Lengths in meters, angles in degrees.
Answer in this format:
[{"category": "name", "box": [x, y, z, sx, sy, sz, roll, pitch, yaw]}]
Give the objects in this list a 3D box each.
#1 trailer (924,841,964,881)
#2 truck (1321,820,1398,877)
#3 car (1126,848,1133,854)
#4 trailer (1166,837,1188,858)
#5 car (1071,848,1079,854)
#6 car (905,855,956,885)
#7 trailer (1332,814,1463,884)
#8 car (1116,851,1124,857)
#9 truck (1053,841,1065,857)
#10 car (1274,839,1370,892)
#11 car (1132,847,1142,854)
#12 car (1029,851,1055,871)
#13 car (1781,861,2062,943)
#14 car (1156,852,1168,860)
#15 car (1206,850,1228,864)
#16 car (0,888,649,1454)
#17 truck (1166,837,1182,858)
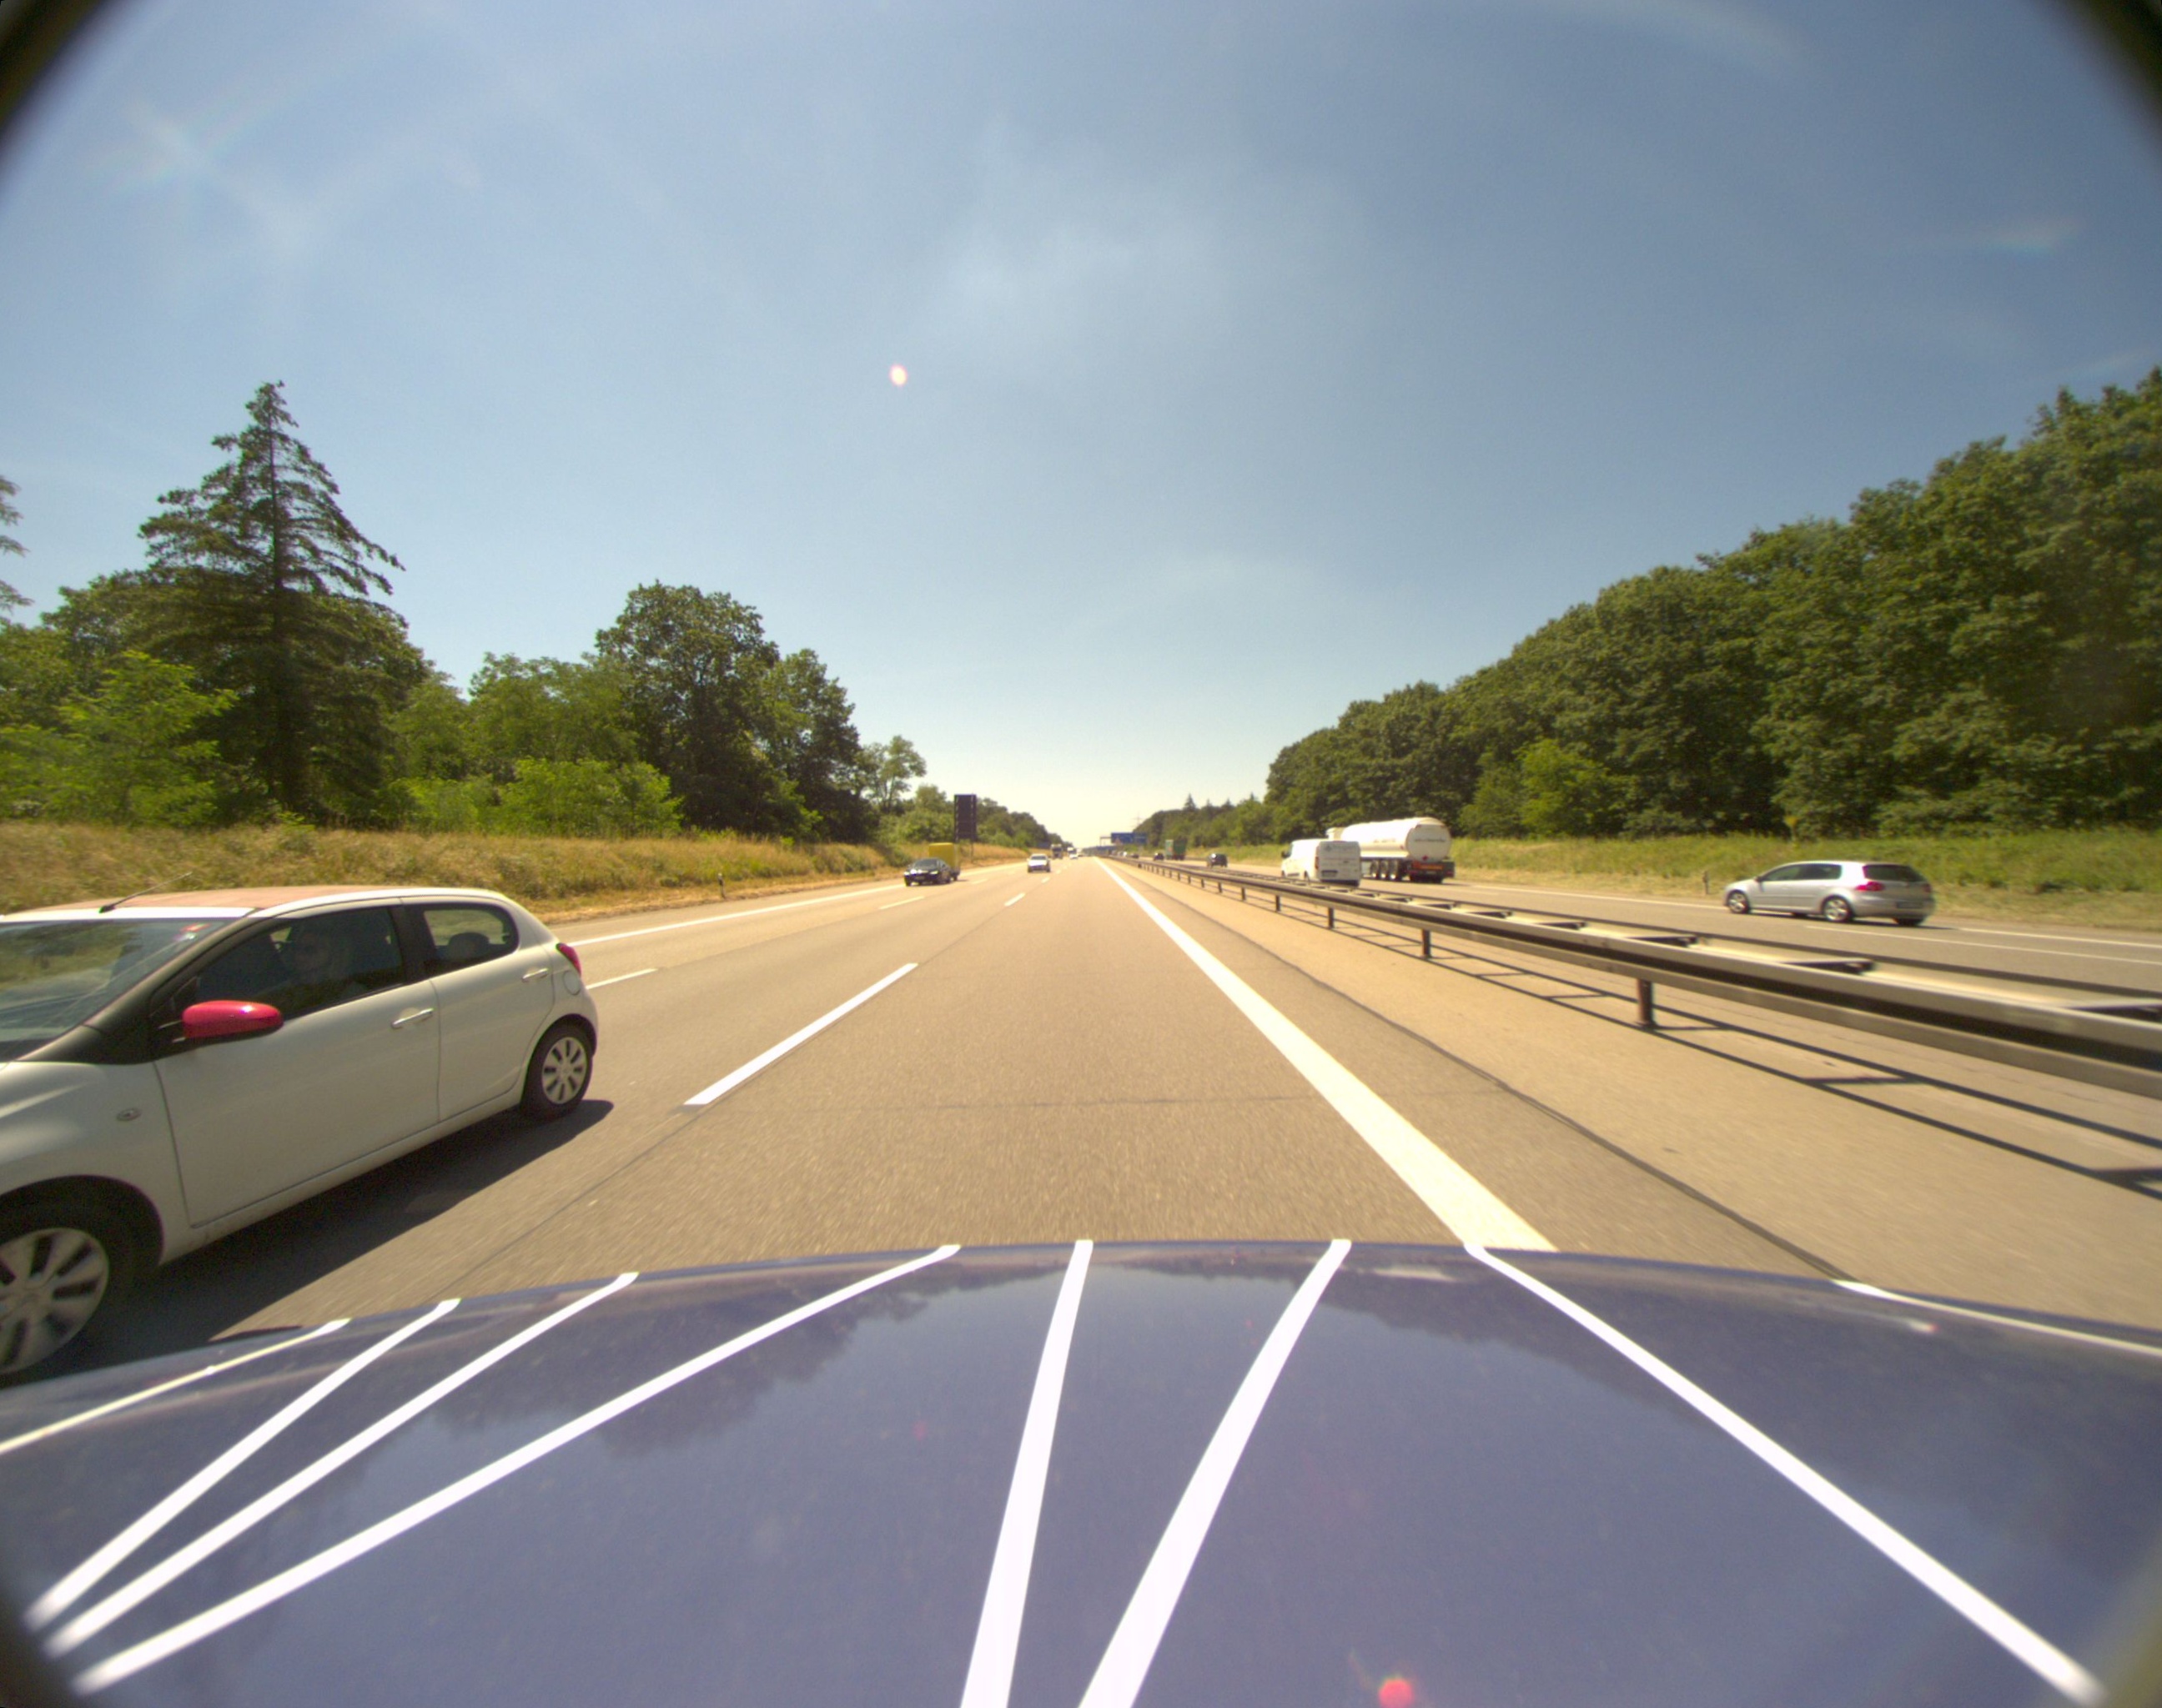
[{"category": "trailer", "box": [-8.225, 0.386, 45.938, 1.707, 2.276, 3.839, -2, 1, 0]}, {"category": "truck", "box": [17.872, -0.331, 49.136, 2.689, 3.414, 6.144, 1, 1, 1]}, {"category": "car", "box": [12.256, -0.721, 192.410, 1.659, 1.492, 4.600, 2, 0, 1]}, {"category": "trailer", "box": [19.655, -1.350, 156.319, 2.711, 4.137, 14.337, 2, 0, 1]}, {"category": "car", "box": [-1.462, -0.787, 180.383, 1.796, 1.412, 3.999, -2, 0, 0]}, {"category": "car", "box": [-8.181, 0.827, 41.623, 1.826, 1.447, 4.787, -2, 0, 0]}, {"category": "trailer", "box": [17.787, -0.295, 43.928, 2.689, 3.414, 11.798, 1, 0, 1]}, {"category": "car", "box": [11.742, -0.045, 228.885, 1.959, 1.782, 5.562, 2, 0, 1]}, {"category": "truck", "box": [-5.545, -1.212, 190.502, 2.605, 3.811, 5.969, -2, 0, 1]}, {"category": "car", "box": [9.620, 0.407, 30.913, 2.001, 1.936, 5.741, 1, 0, 0]}, {"category": "car", "box": [11.526, -0.652, 156.483, 1.713, 1.402, 5.083, 2, 1, 1]}, {"category": "car", "box": [-3.112, 0.537, 61.303, 1.749, 1.457, 3.980, -2, 0, 1]}, {"category": "car", "box": [17.847, 0.939, 16.473, 1.573, 1.456, 4.035, 1, 0, 0]}, {"category": "car", "box": [15.149, 0.356, 142.843, 1.678, 1.435, 5.135, 1, 0, 1]}, {"category": "car", "box": [14.111, 0.295, 78.934, 1.637, 1.464, 3.936, 1, 0, 1]}, {"category": "car", "box": [-4.003, 1.020, 3.426, 1.712, 1.486, 4.023, -2, 0, 1]}, {"category": "truck", "box": [19.799, -1.396, 162.063, 2.707, 4.137, 6.296, 2, 1, 1]}]
